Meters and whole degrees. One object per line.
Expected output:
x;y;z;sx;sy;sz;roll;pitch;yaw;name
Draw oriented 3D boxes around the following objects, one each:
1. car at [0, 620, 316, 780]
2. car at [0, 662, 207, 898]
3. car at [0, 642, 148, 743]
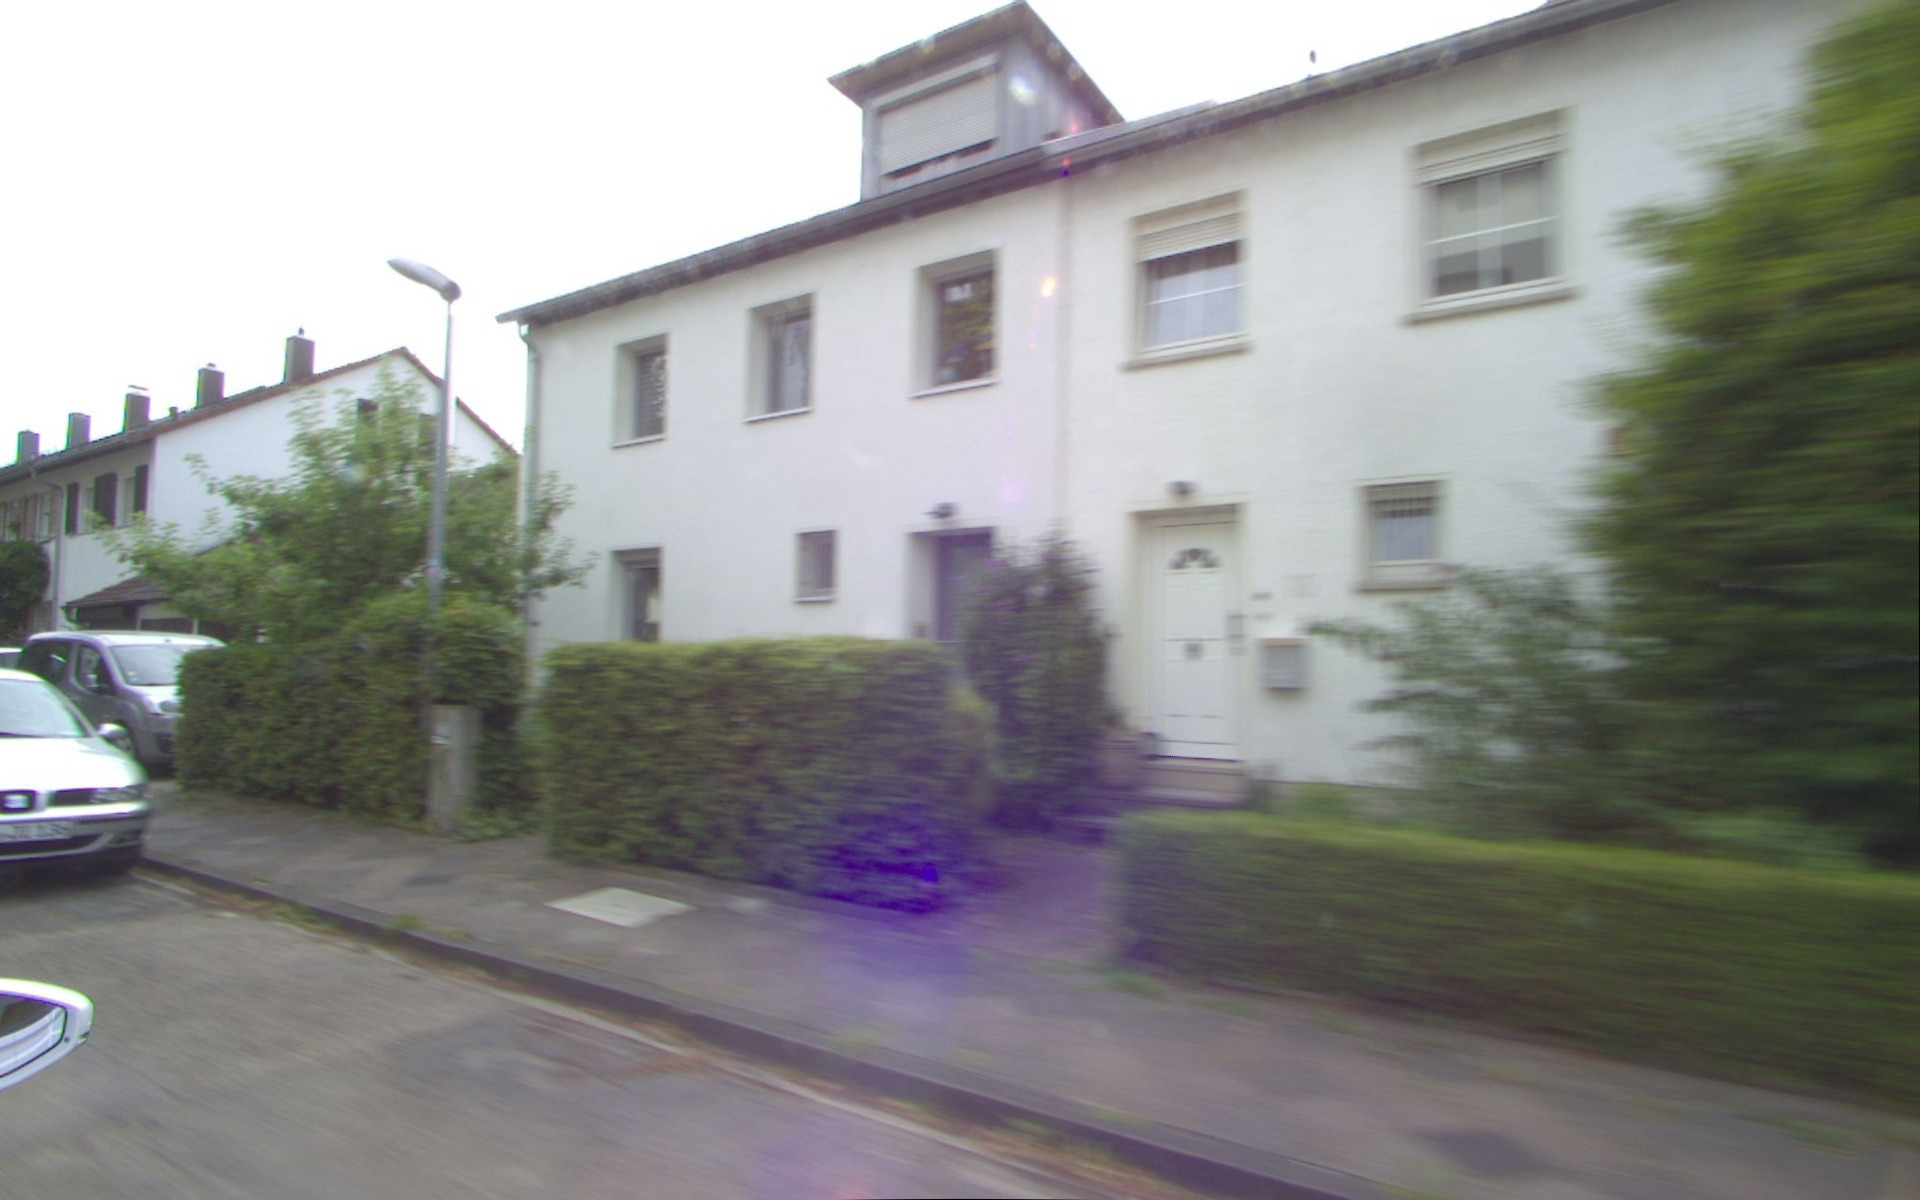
-10.594;1.216;13.161;4.276;1.799;1.823;-2;-2;30;car
-7.422;1.126;7.204;4.271;1.386;1.823;-1;-6;34;car
-15.725;1.513;16.830;1.715;1.589;2.813;-1;-2;30;car
